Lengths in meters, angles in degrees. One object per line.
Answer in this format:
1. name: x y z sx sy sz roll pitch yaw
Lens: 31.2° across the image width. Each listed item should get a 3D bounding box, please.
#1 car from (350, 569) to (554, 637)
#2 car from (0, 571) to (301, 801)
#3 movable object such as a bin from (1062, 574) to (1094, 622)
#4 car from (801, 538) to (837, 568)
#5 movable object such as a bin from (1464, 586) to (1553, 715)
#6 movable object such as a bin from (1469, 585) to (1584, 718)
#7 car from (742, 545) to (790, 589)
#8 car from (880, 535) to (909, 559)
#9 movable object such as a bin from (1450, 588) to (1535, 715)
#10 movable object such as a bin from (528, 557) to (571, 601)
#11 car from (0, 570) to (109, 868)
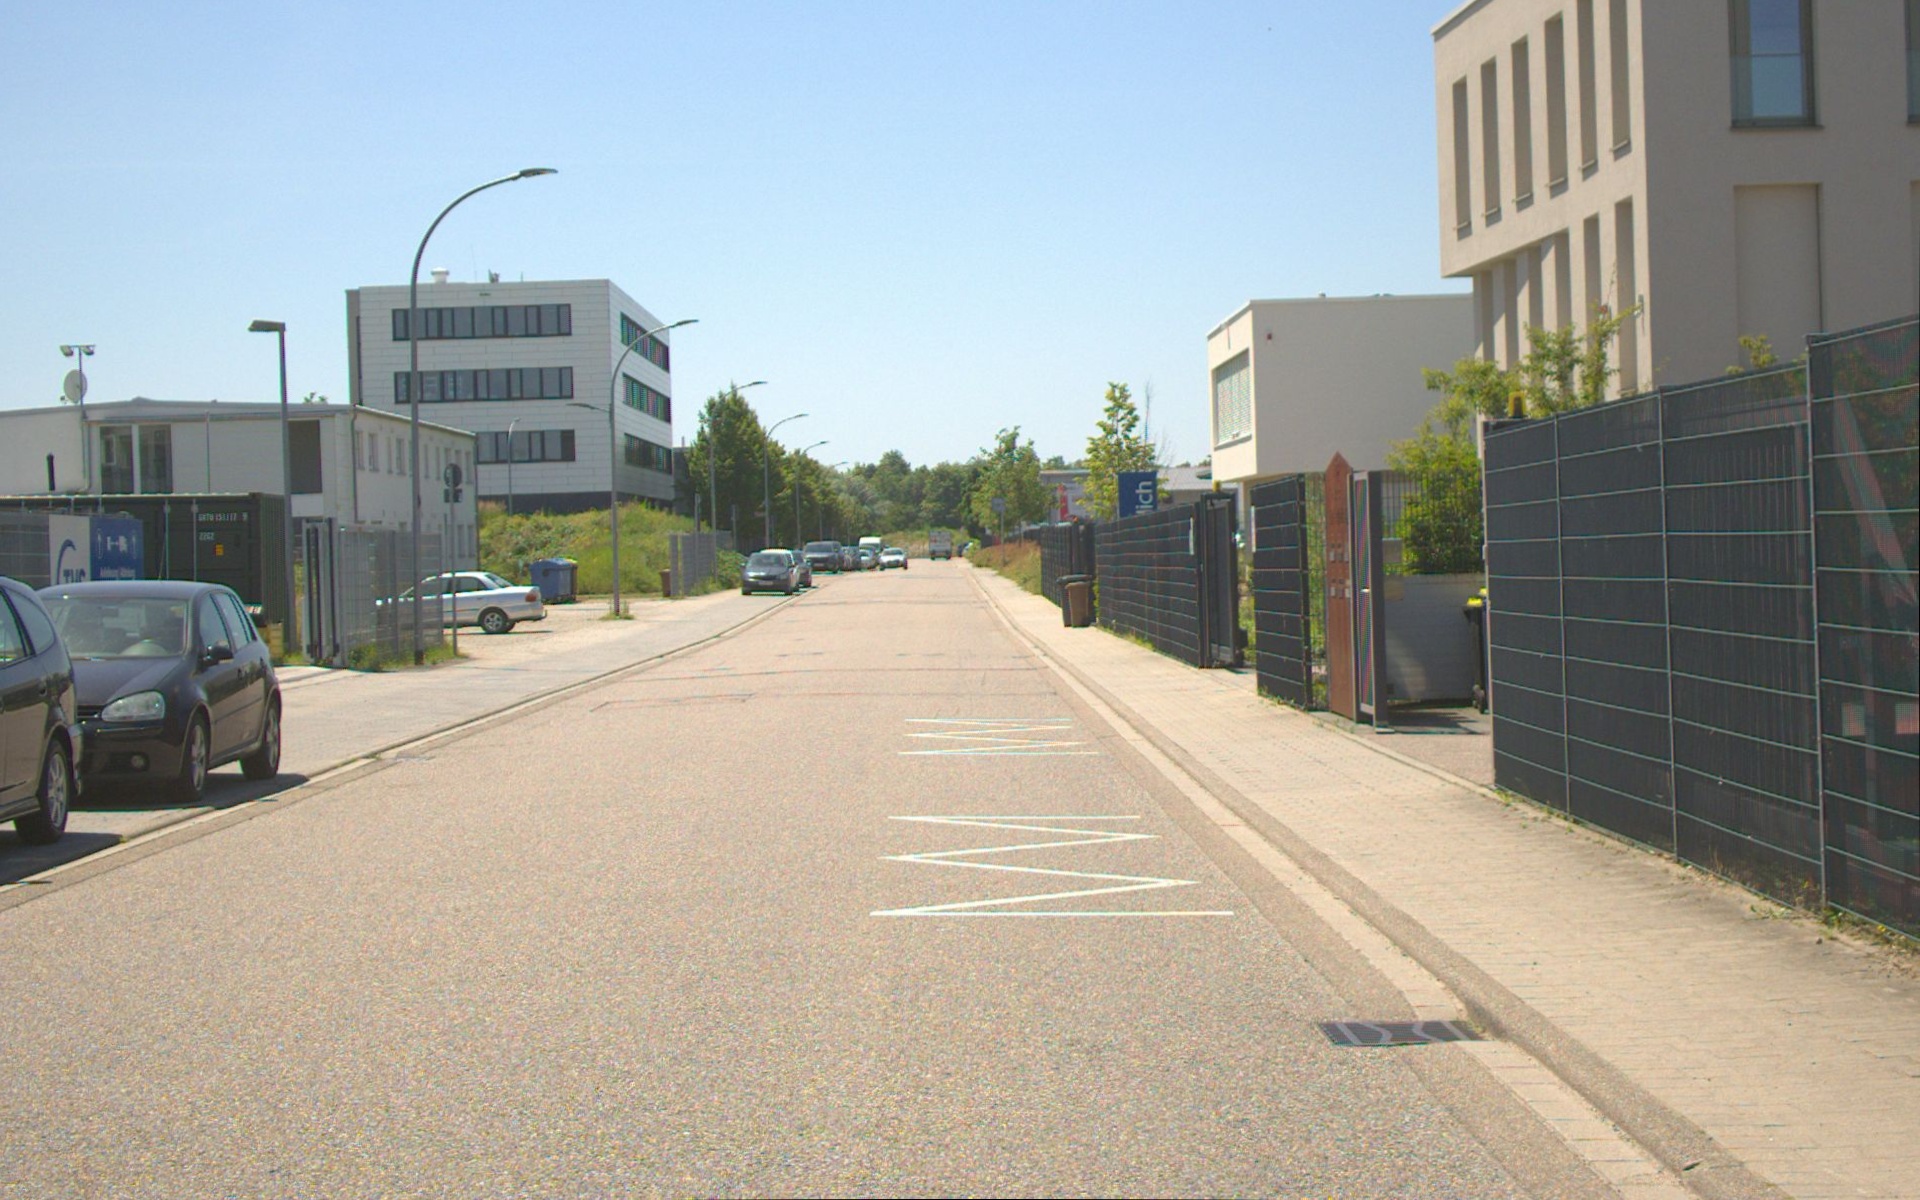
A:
1. car: -11.436 0.059 77.614 4.277 1.360 1.898 -2 1 0
2. car: -5.913 0.531 24.116 1.769 1.456 4.333 0 1 0
3. movable object such as a bin: 2.434 -0.036 70.990 0.552 0.925 0.522 -6 2 4
4. car: -7.121 -2.385 173.805 1.644 1.484 3.207 -1 1 0
5. movable object such as a bin: 4.532 0.413 28.436 0.604 1.032 0.650 -2 1 0
6. movable object such as a bin: 4.579 0.407 27.800 0.793 1.032 0.581 -2 1 0
7. car: -6.693 -1.159 118.830 1.466 1.484 3.207 -1 1 0
8. car: -4.361 -3.532 230.037 1.804 1.551 4.000 -2 1 0
9. movable object such as a bin: 4.524 0.430 29.245 0.543 1.032 0.913 -2 1 -1
10. movable object such as a bin: -13.453 -0.706 112.585 1.285 1.407 1.807 -1 1 -4
11. car: -5.919 0.627 18.297 1.769 1.551 4.502 0 1 -1
